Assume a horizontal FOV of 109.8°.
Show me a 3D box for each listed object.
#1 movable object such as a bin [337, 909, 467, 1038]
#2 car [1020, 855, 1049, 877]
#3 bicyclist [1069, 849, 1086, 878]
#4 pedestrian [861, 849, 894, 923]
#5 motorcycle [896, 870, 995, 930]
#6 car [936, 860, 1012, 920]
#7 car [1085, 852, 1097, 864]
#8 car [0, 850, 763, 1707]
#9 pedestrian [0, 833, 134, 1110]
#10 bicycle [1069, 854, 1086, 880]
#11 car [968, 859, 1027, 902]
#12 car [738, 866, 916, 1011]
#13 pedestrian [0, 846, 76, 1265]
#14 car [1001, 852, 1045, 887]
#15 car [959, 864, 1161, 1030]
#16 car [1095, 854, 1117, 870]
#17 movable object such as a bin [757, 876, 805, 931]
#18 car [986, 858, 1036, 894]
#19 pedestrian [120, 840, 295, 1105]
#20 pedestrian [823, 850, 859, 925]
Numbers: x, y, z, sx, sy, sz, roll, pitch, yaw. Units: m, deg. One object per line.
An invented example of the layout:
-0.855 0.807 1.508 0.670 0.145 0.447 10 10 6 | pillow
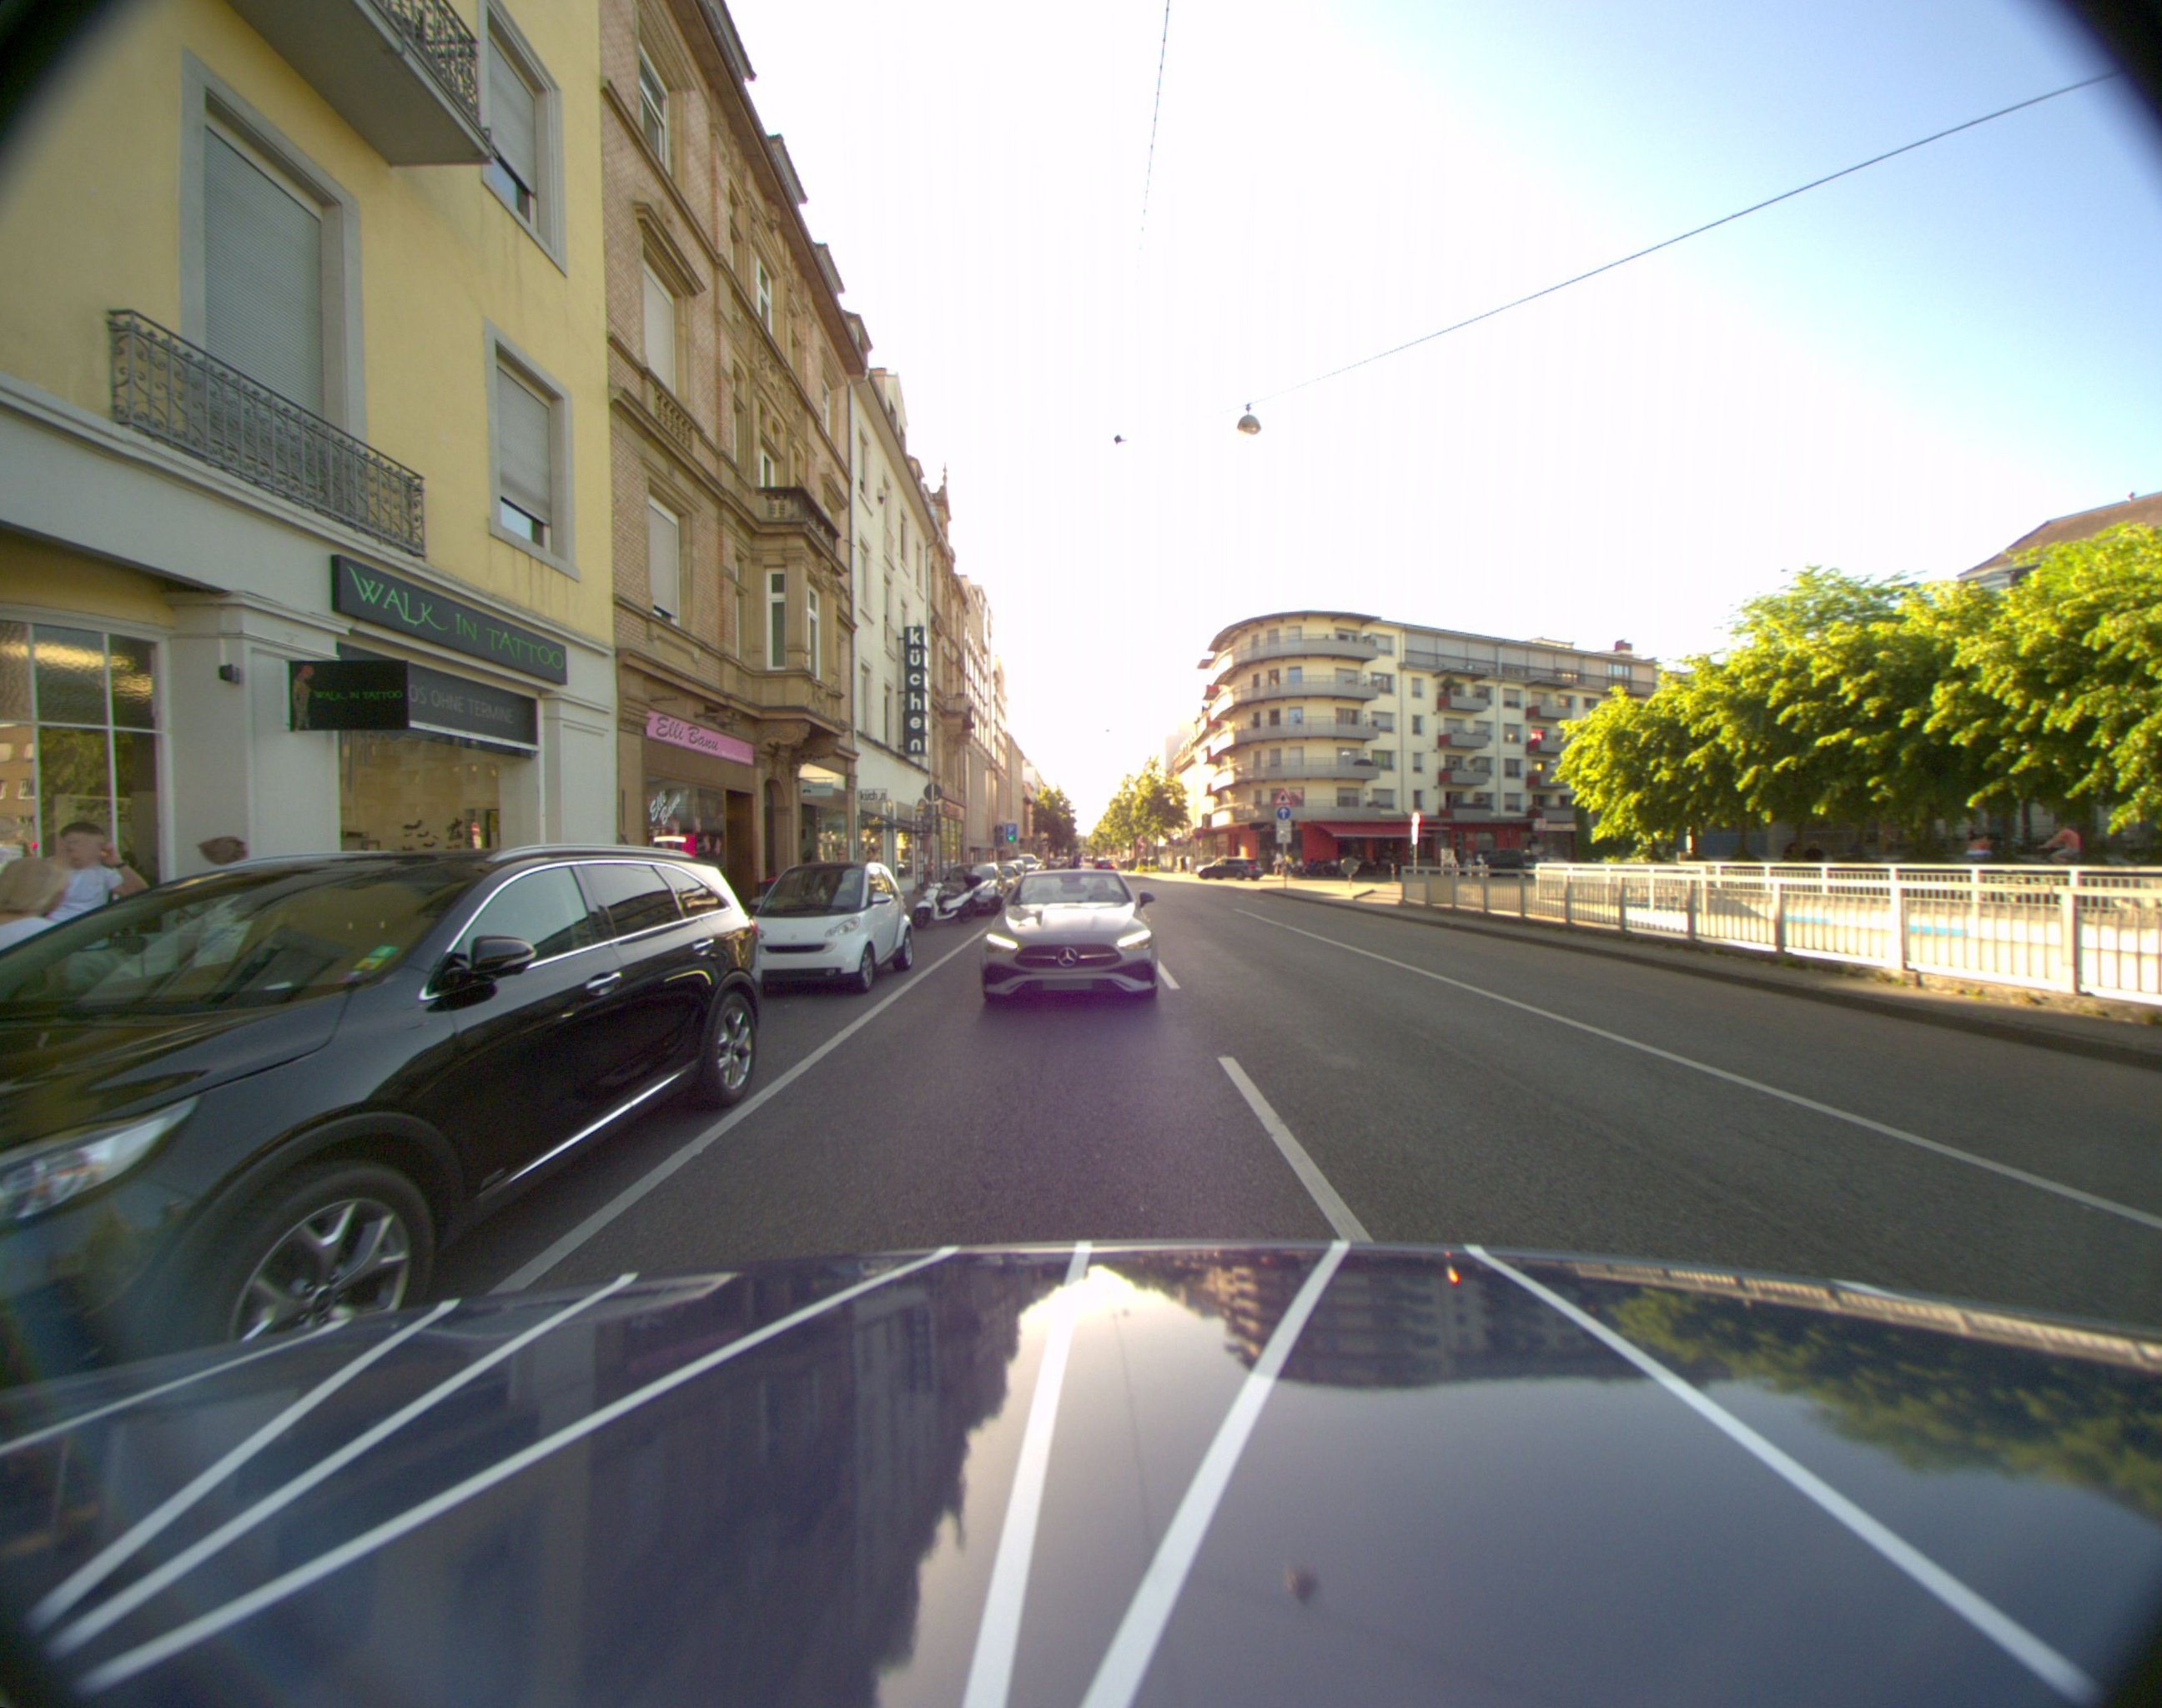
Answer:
-6.169 1.064 6.932 0.606 1.060 0.619 1 0 1 | movable object such as a bin
-3.463 0.879 57.427 1.895 1.595 4.049 -2 0 1 | car
-0.169 0.497 38.484 0.798 1.426 1.008 -2 1 1 | bicyclist
-4.552 0.703 16.994 0.514 1.623 0.415 -1 1 26 | pedestrian
-3.224 1.068 18.263 2.178 1.272 0.866 -2 0 -41 | motorcycle
-3.038 0.967 22.340 1.737 1.509 4.164 -2 0 -2 | car
1.845 0.667 138.716 1.998 2.002 4.000 -2 1 1 | car
-3.053 0.879 3.067 1.760 1.726 4.571 -2 0 -3 | car
-6.495 0.700 4.810 0.337 1.651 0.524 0 1 17 | pedestrian
-0.161 0.651 38.492 0.798 1.225 1.773 -2 0 1 | bicycle
-3.048 0.937 28.427 1.737 1.409 3.802 -2 0 1 | car
-3.087 0.946 9.720 1.275 1.509 2.795 -2 0 0 | car
-4.771 0.851 3.163 0.435 1.752 0.481 -2 1 -15 | pedestrian
-2.932 0.757 39.451 1.895 1.680 4.049 -2 0 1 | car
-0.181 0.896 9.284 1.848 1.440 4.373 -2 0 0 | car
2.271 0.700 68.960 1.895 1.388 4.256 -2 0 1 | car
-6.172 1.006 15.665 0.716 1.065 0.619 1 0 1 | movable object such as a bin
-2.952 0.914 32.821 1.737 1.409 3.802 -2 0 1 | car
-5.743 0.737 5.027 0.451 1.651 0.593 0 1 2 | pedestrian
-5.356 0.737 16.935 0.619 1.623 0.462 -2 1 -30 | pedestrian
